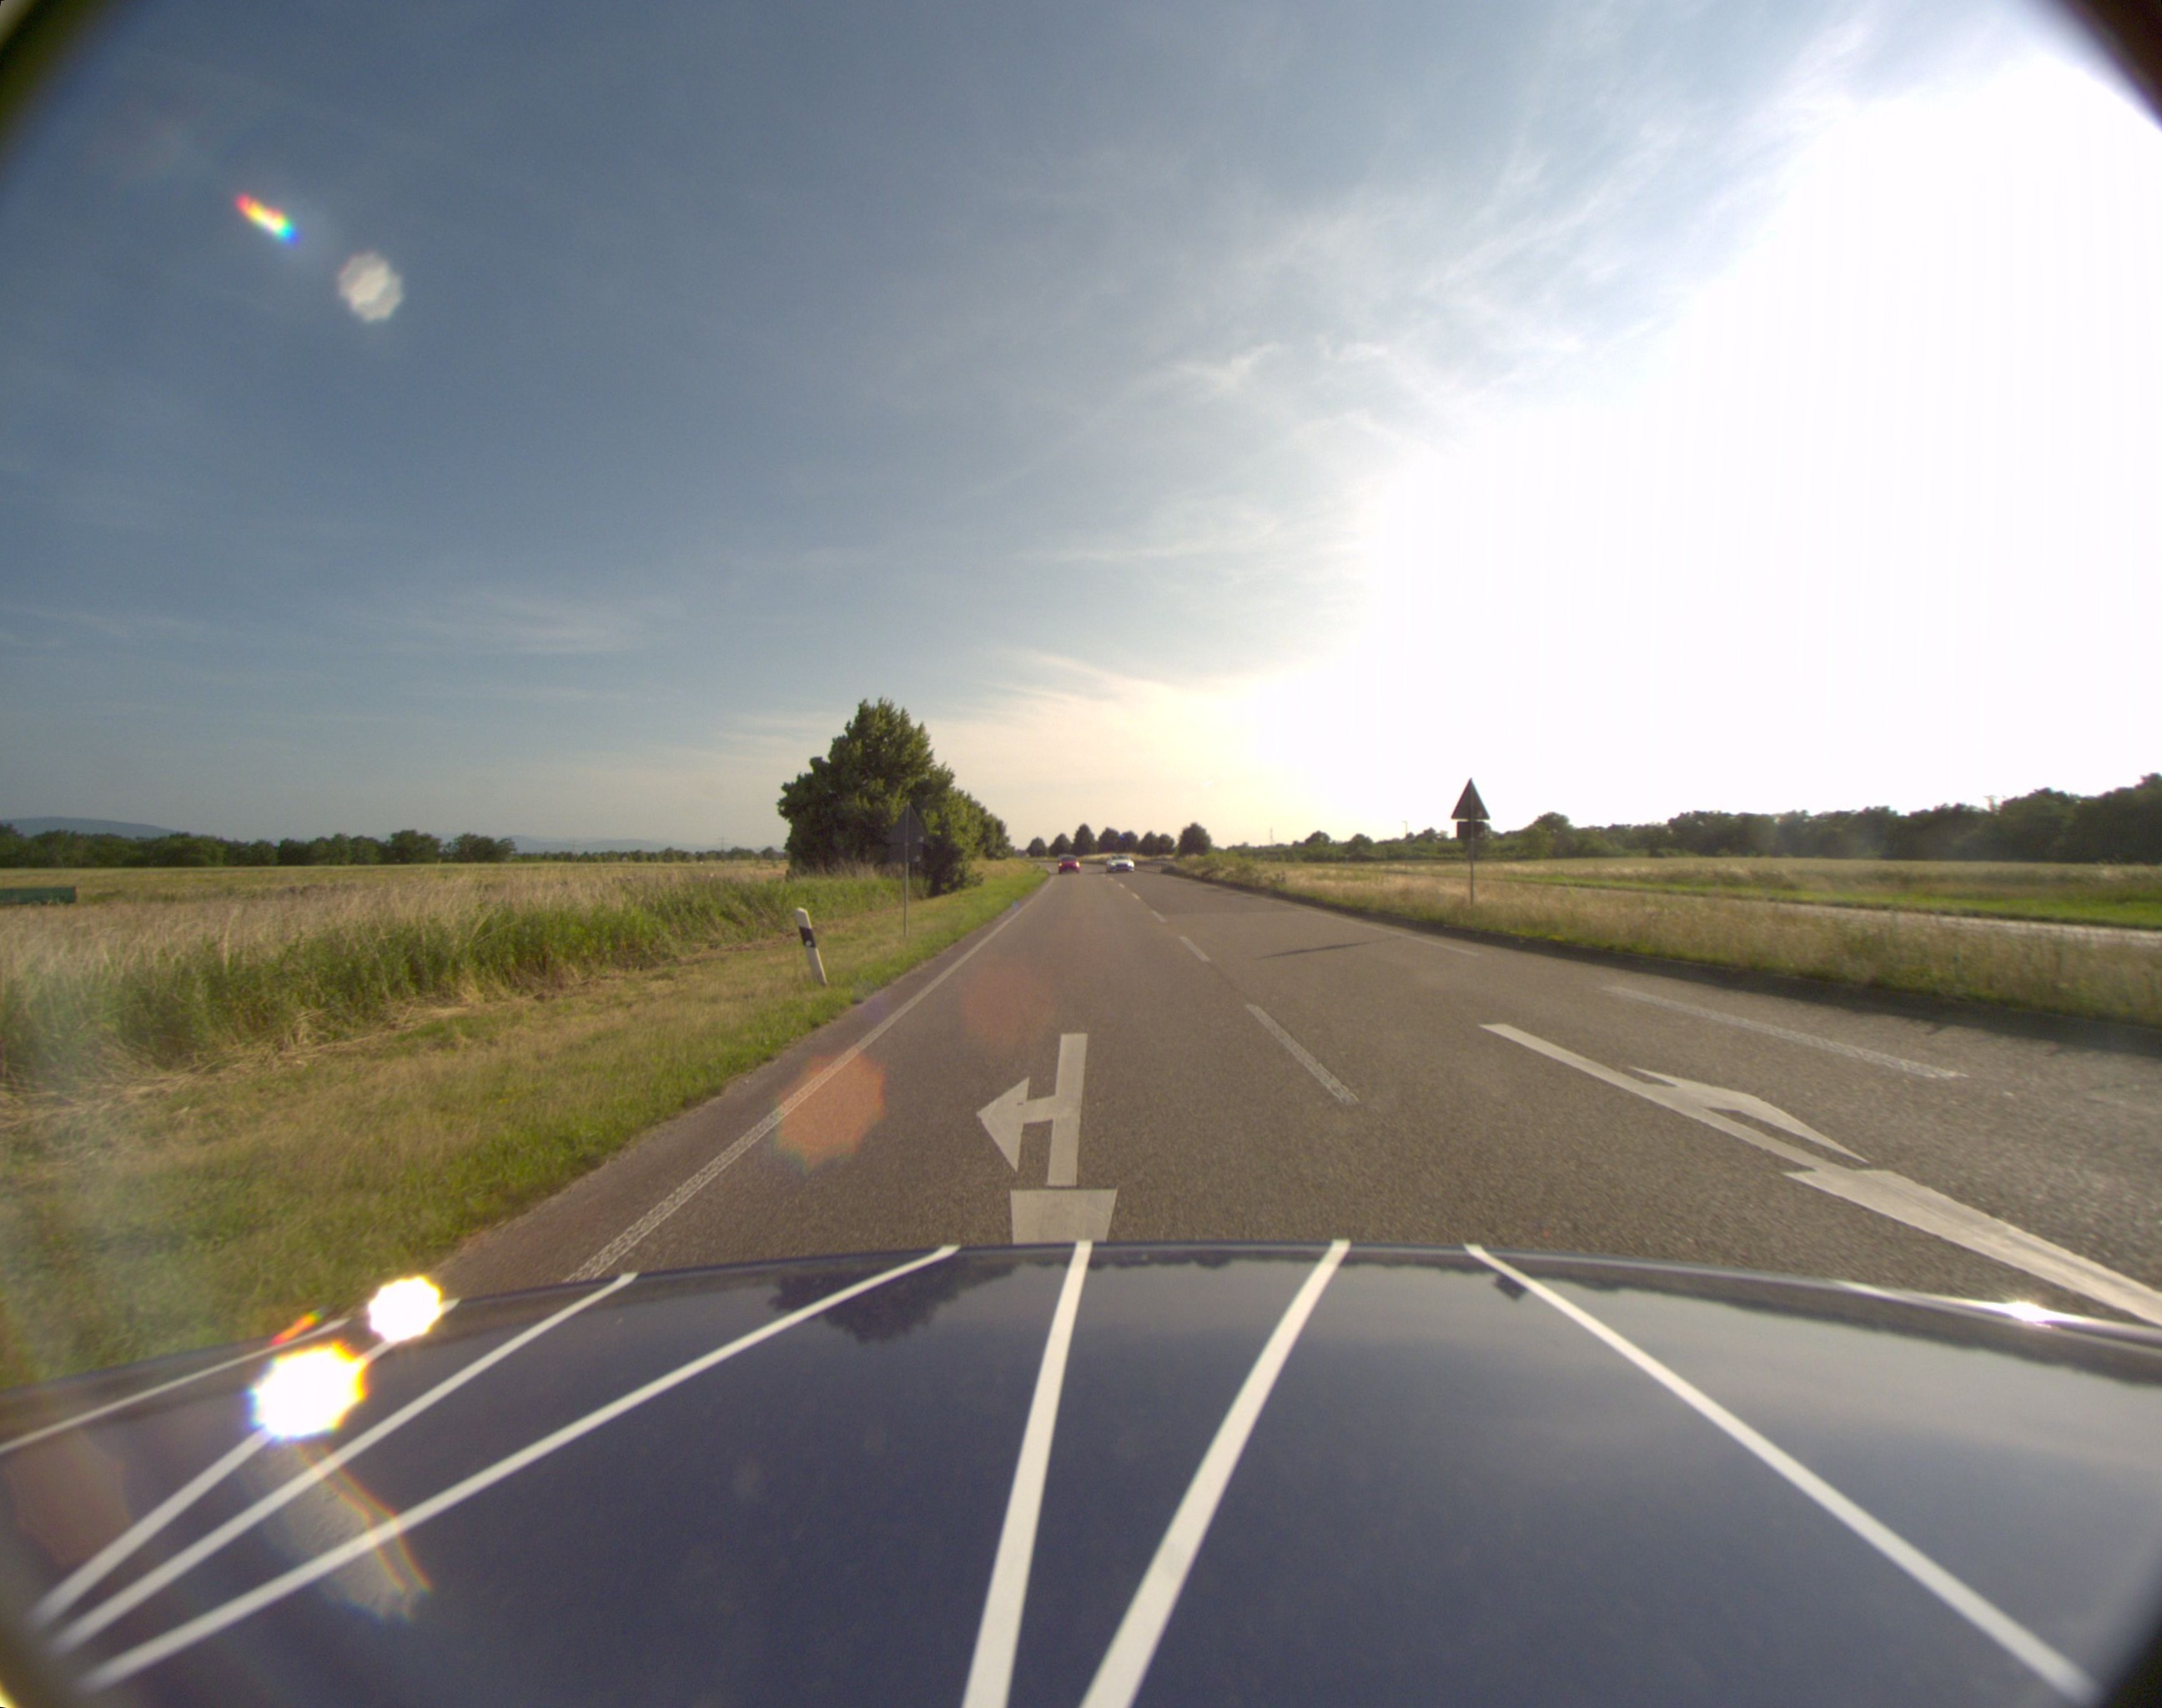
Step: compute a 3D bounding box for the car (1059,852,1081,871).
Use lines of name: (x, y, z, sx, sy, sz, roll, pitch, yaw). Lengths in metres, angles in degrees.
car: (-0.886, 0.641, 64.156, 1.665, 1.456, 3.954, -2, 1, 1)

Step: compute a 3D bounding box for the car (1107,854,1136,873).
car: (3.141, 0.701, 60.296, 1.876, 1.390, 4.203, -2, 1, -3)
